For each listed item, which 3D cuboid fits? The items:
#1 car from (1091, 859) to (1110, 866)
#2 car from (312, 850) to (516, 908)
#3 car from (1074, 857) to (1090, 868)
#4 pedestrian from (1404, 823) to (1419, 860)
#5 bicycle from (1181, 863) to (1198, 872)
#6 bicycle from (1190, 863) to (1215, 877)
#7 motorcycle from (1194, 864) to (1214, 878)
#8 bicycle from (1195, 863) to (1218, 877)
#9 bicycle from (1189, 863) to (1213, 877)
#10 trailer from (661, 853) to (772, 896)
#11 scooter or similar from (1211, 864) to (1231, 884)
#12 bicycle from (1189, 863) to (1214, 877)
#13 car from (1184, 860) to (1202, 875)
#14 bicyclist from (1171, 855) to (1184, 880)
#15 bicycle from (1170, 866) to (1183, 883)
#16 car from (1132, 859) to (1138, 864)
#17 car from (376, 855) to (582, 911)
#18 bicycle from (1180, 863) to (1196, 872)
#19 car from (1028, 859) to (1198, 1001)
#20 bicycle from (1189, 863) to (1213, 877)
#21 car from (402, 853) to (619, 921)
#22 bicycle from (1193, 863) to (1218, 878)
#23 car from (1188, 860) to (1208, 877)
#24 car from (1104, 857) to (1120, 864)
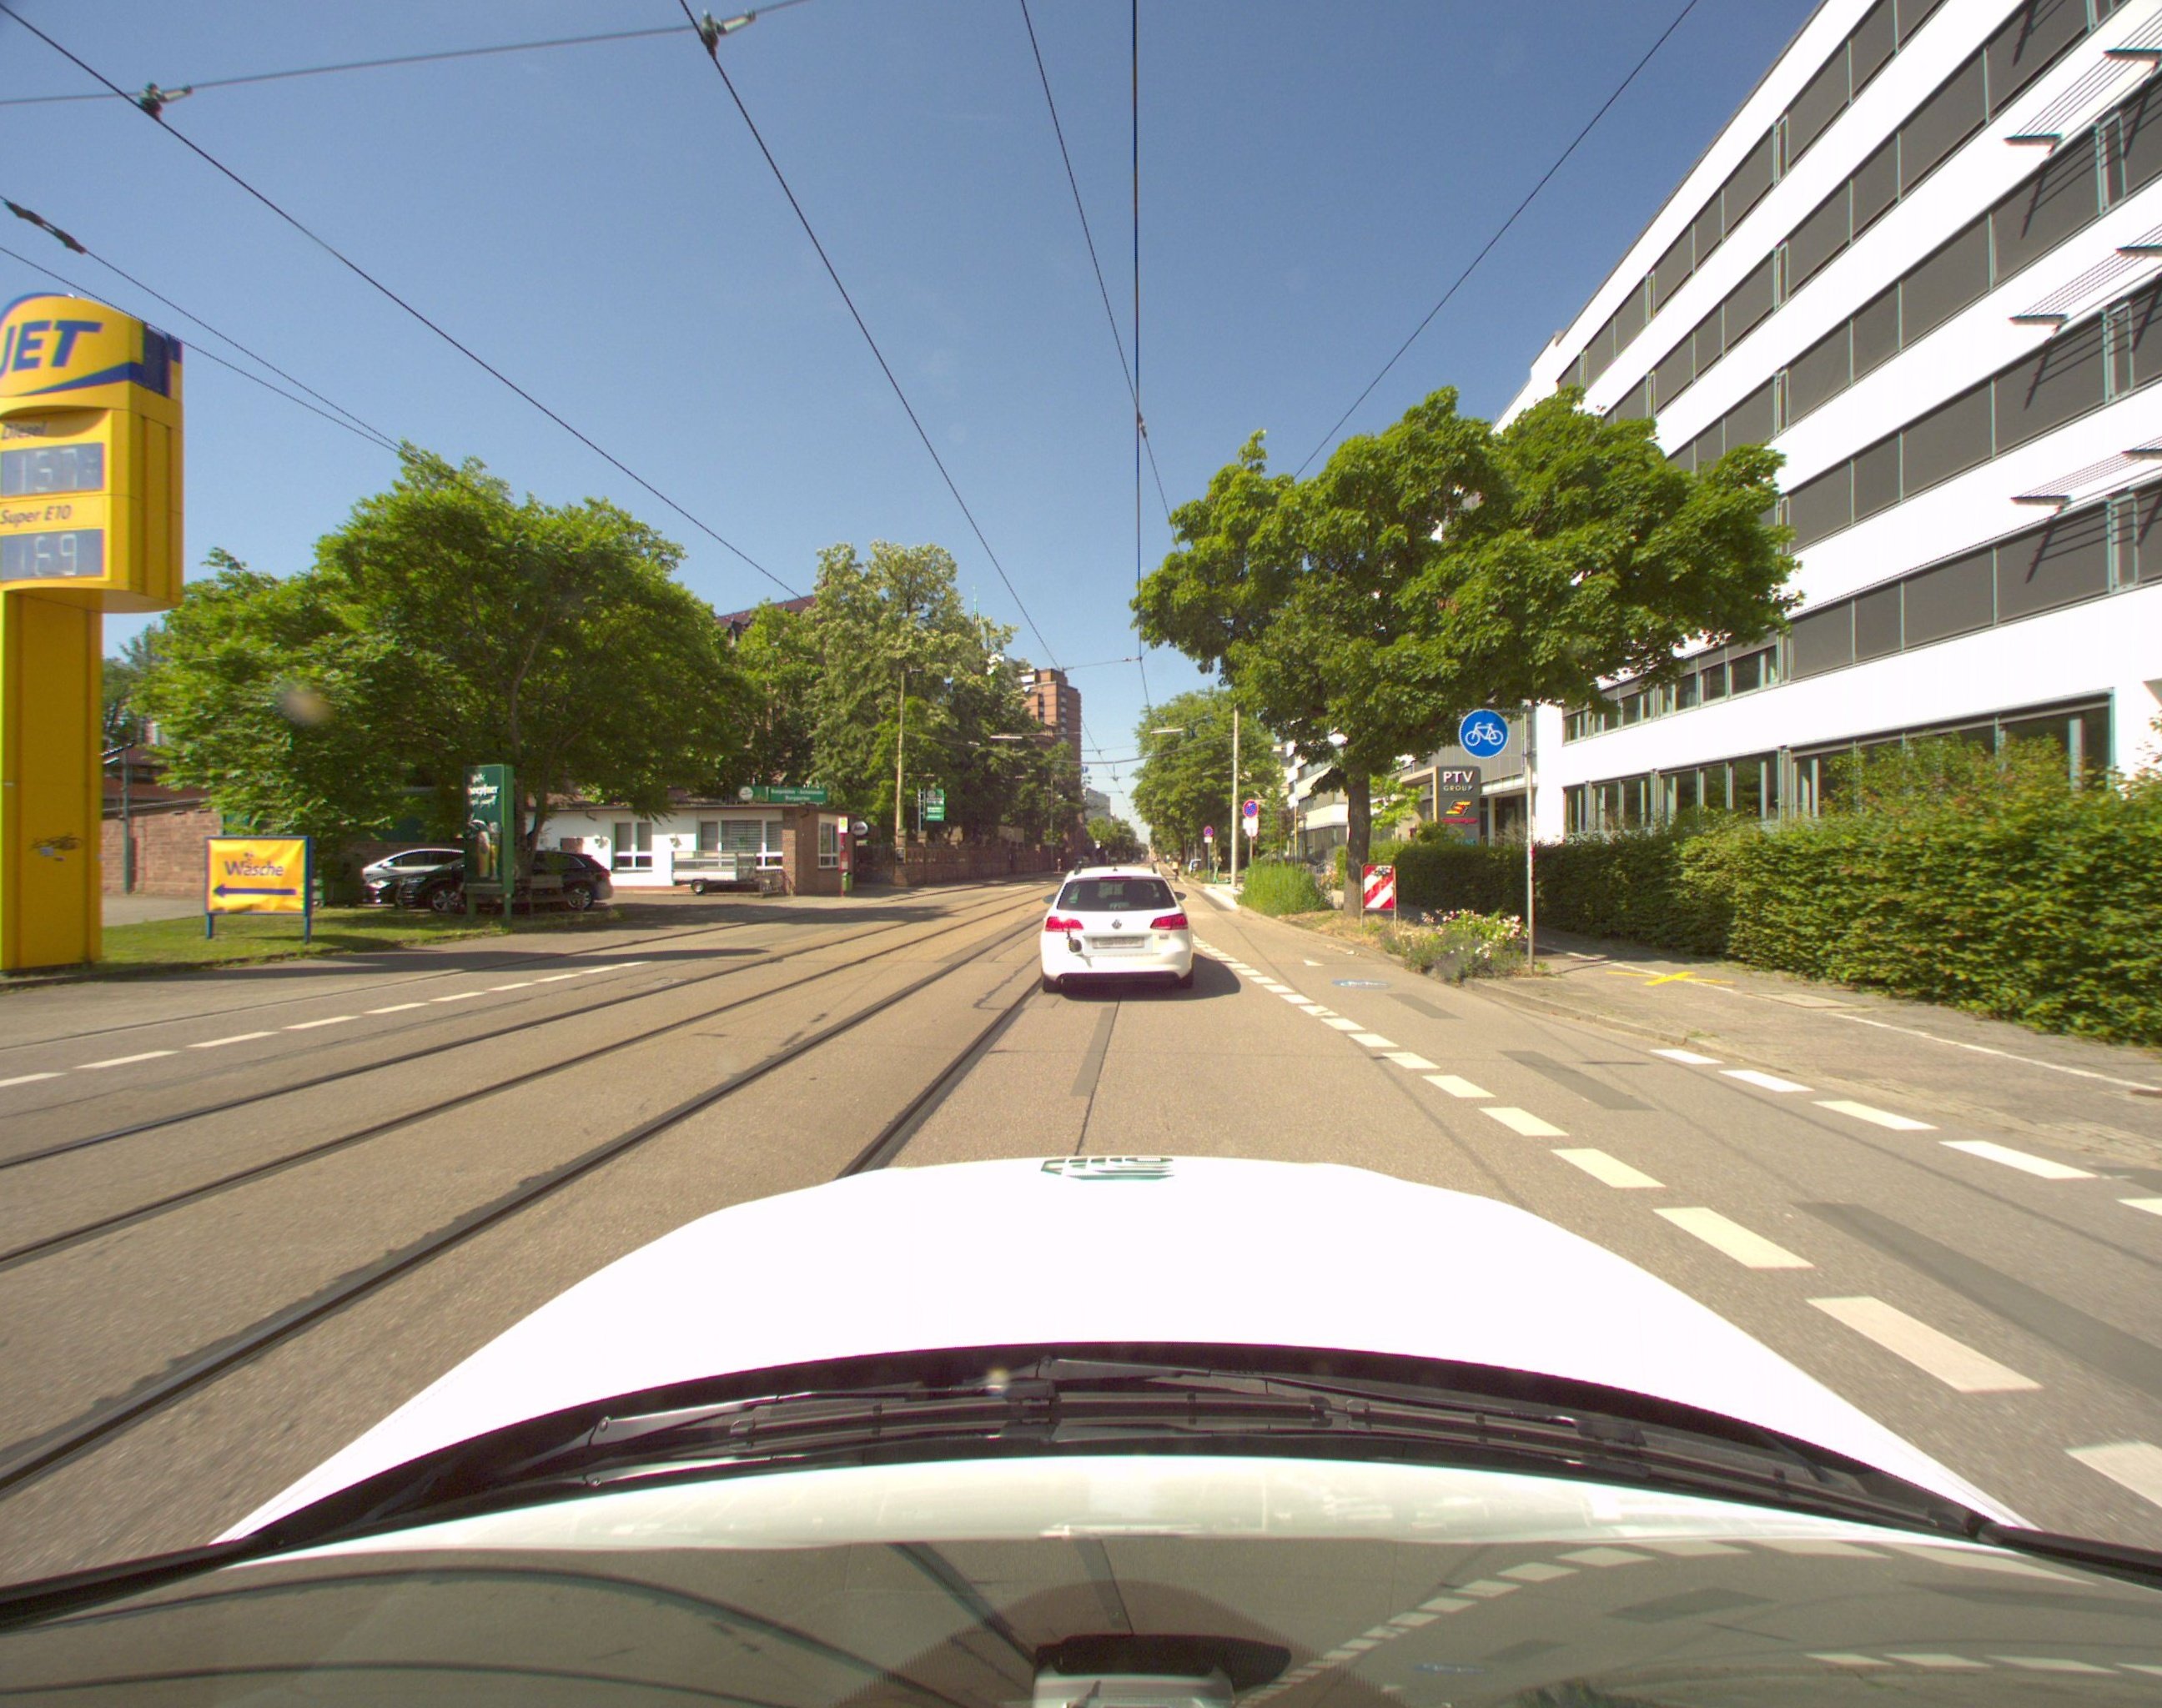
[{"bbox_3d":[4.527,1.988,191.404,4.126,1.530,1.922,2,0,-16],"label":"car"},{"bbox_3d":[-19.986,0.694,24.627,4.602,1.583,1.927,0,-1,-40],"label":"car"},{"bbox_3d":[0.187,1.310,130.925,1.982,1.757,4.722,-1,-1,8],"label":"car"},{"bbox_3d":[15.438,-0.590,38.026,0.496,1.728,0.547,0,-1,4],"label":"pedestrian"},{"bbox_3d":[11.981,1.496,89.896,1.781,1.010,0.488,-1,-1,0],"label":"bicycle"},{"bbox_3d":[9.822,1.296,65.859,1.904,1.083,0.551,1,-1,2],"label":"bicycle"},{"bbox_3d":[9.527,1.321,63.025,1.459,1.046,0.535,-1,-1,2],"label":"motorcycle"},{"bbox_3d":[9.930,1.264,64.596,1.767,1.120,0.597,-1,-1,2],"label":"bicycle"},{"bbox_3d":[9.874,1.305,67.073,1.904,1.083,0.551,2,-1,2],"label":"bicycle"},{"bbox_3d":[-13.299,0.733,29.810,3.199,1.526,1.781,0,0,6],"label":"trailer"},{"bbox_3d":[8.261,1.171,47.962,1.135,1.154,0.494,0,-1,11],"label":"scooter or similar"},{"bbox_3d":[9.838,1.295,66.460,1.904,1.083,0.551,2,-1,2],"label":"bicycle"},{"bbox_3d":[11.460,1.344,83.596,1.656,1.444,4.641,-1,0,6],"label":"car"},{"bbox_3d":[6.473,0.877,54.646,0.782,1.629,0.739,-1,1,5],"label":"bicyclist"},{"bbox_3d":[6.402,1.361,54.671,0.807,1.078,2.015,0,0,6],"label":"bicycle"},{"bbox_3d":[14.170,1.958,214.716,1.485,1.384,3.649,-1,-1,6],"label":"car"},{"bbox_3d":[-17.178,0.763,23.382,4.602,1.468,1.926,0,-1,-41],"label":"car"},{"bbox_3d":[12.095,1.495,92.332,1.781,1.010,0.488,-1,-1,0],"label":"bicycle"},{"bbox_3d":[0.493,0.815,10.750,1.746,1.442,4.417,-2,0,4],"label":"car"},{"bbox_3d":[9.950,1.325,67.711,1.878,1.083,0.551,2,-1,2],"label":"bicycle"},{"bbox_3d":[-15.146,0.798,21.770,4.602,1.625,1.926,0,-1,-41],"label":"car"},{"bbox_3d":[9.294,1.261,60.883,1.767,1.083,0.597,-1,-1,2],"label":"bicycle"},{"bbox_3d":[10.270,1.241,71.673,1.582,1.451,3.952,-1,0,6],"label":"car"},{"bbox_3d":[8.669,1.784,224.822,4.012,1.816,1.981,0,-1,-30],"label":"car"}]
